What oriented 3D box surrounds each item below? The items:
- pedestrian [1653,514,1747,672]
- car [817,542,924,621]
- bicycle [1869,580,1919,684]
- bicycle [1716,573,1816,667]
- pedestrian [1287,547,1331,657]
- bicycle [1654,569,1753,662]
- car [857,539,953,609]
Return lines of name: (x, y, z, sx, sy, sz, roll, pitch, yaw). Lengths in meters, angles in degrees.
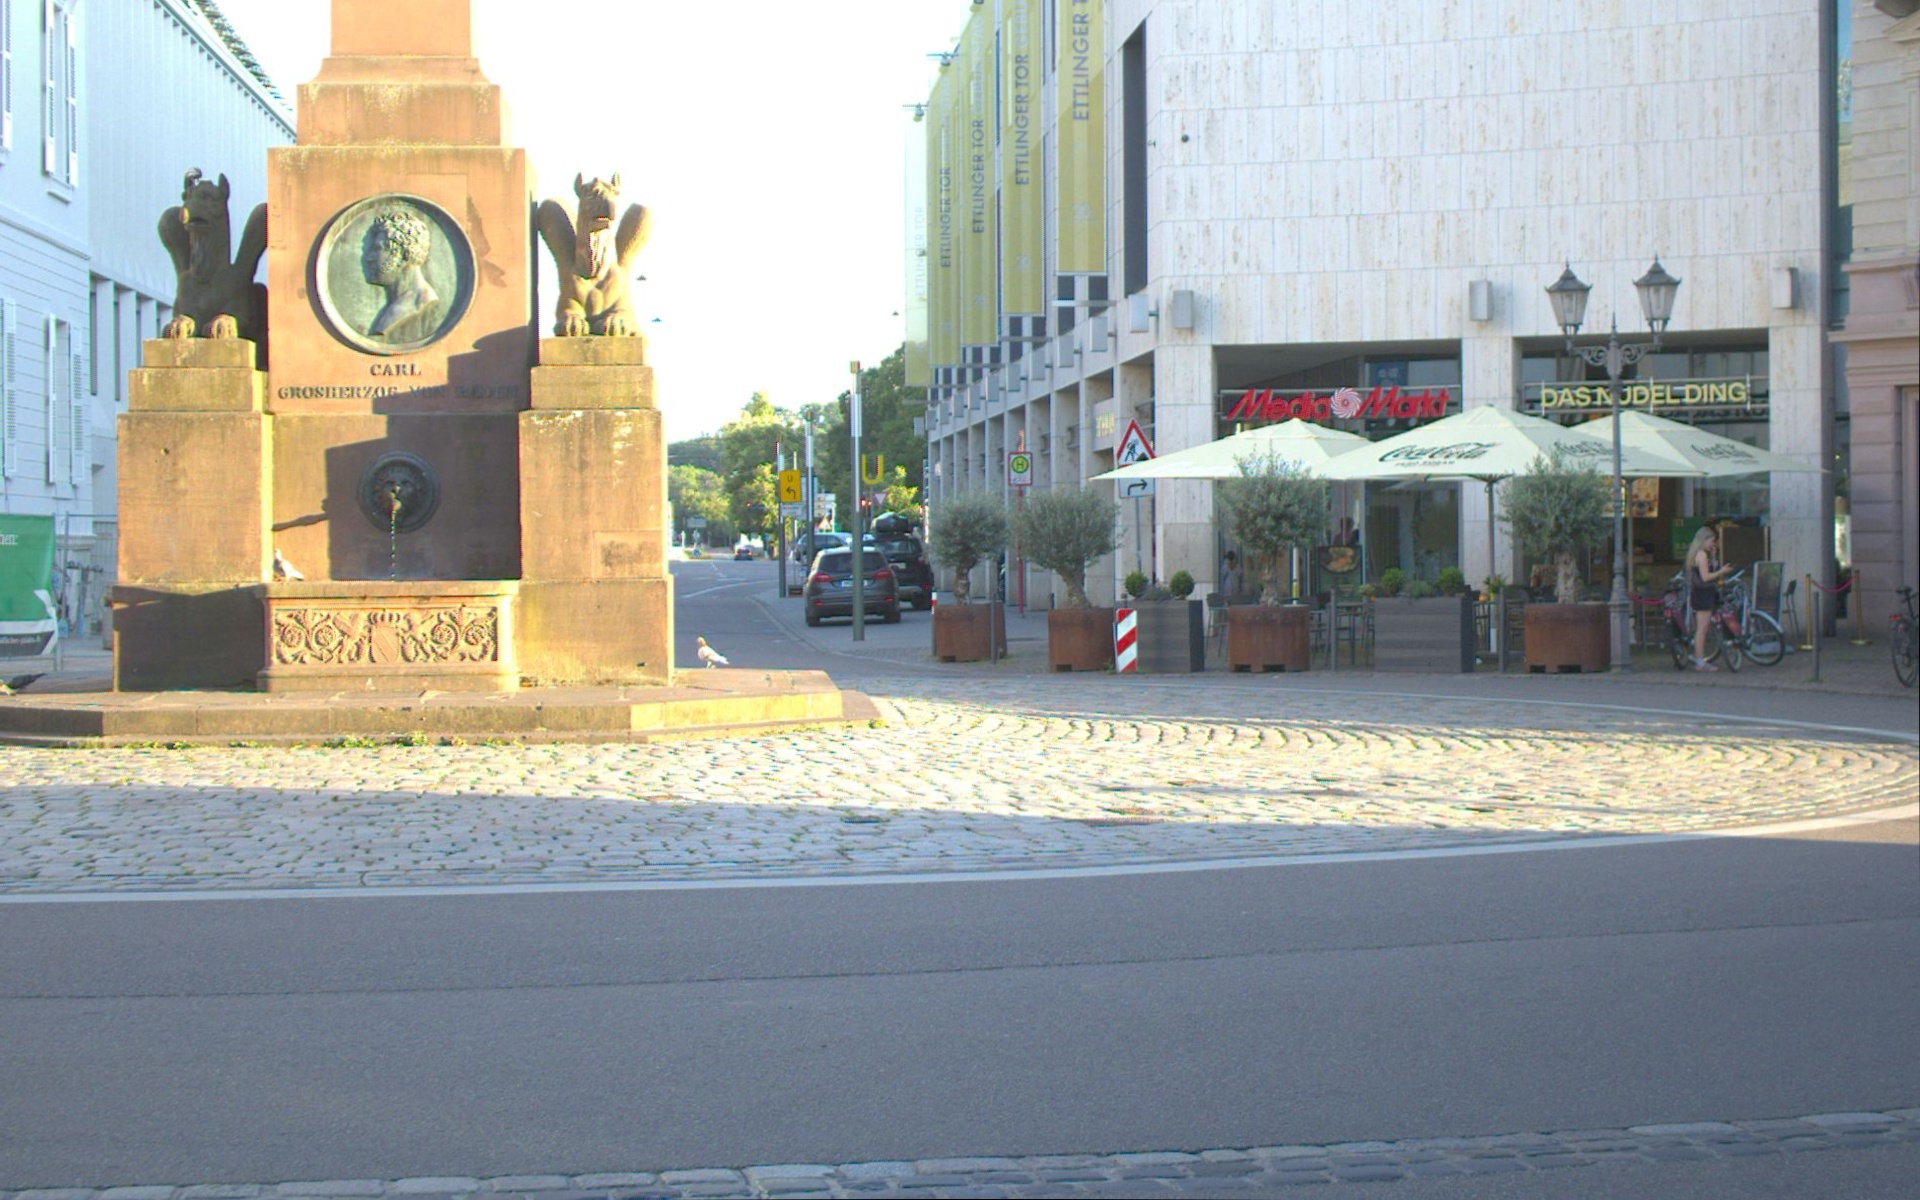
pedestrian: (8.185, -0.087, 38.051, 0.904, 1.722, 0.849, 0, 1, 4)
car: (-1.772, -0.374, 66.669, 1.993, 1.459, 4.001, 0, 1, -3)
bicycle: (9.971, 0.324, 35.823, 0.507, 1.028, 1.643, 0, 1, 32)
bicycle: (9.200, 0.217, 39.218, 0.620, 1.028, 1.643, 0, 1, 32)
pedestrian: (4.448, 0.024, 43.737, 0.507, 1.393, 0.495, 0, 1, 12)
bicycle: (8.547, 0.167, 39.509, 0.600, 1.028, 1.643, 0, 1, 32)
car: (-1.225, -0.589, 75.186, 1.993, 1.459, 4.001, 0, 1, -3)
